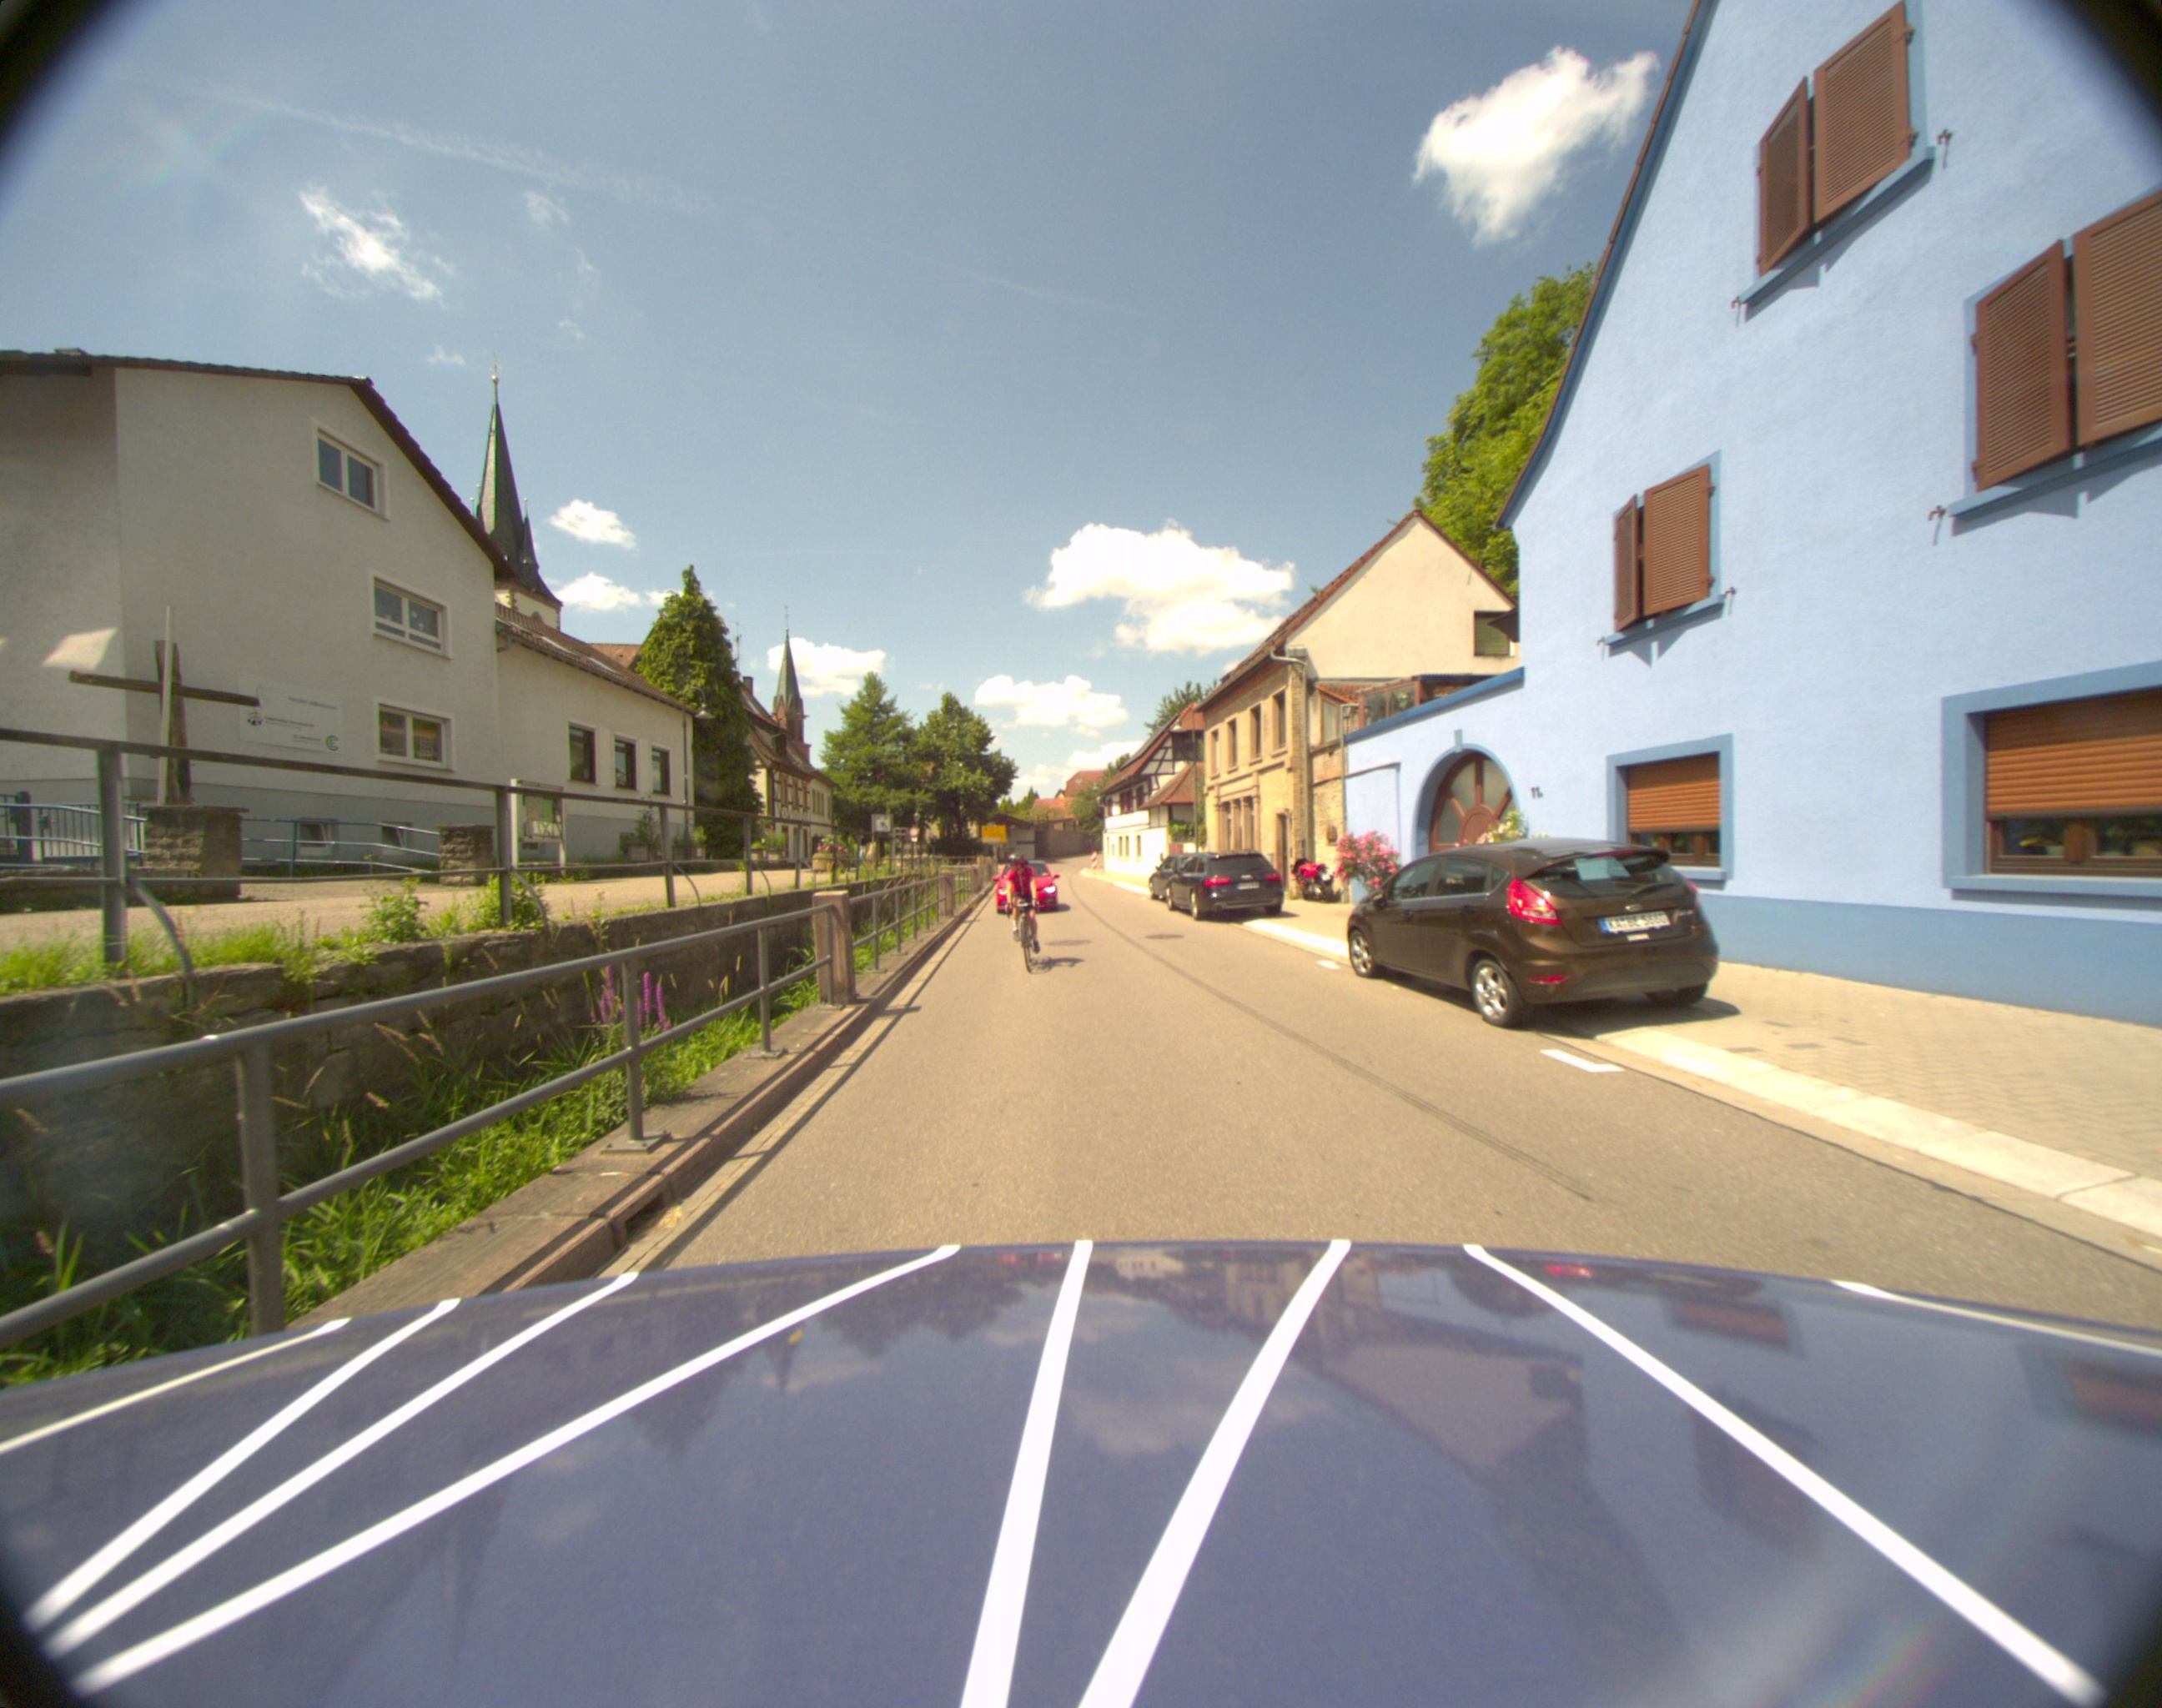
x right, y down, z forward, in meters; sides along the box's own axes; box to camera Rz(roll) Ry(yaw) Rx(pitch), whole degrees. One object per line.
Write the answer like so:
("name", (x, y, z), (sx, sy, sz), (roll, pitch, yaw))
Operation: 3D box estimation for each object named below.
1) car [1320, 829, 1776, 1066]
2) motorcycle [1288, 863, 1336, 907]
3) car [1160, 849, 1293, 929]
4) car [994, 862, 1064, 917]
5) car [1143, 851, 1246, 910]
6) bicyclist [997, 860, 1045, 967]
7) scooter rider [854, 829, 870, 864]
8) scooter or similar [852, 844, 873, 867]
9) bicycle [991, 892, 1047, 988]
("car", (3.928, 0.679, 7.299), (1.722, 1.521, 3.855), (-5, 0, -4))
("motorcycle", (5.844, 0.762, 19.308), (0.419, 0.995, 1.857), (-6, 2, -6))
("car", (3.163, 0.713, 17.561), (1.890, 1.455, 4.667), (-4, 0, -3))
("car", (-1.542, 0.944, 21.465), (1.670, 1.344, 3.492), (-2, 0, -8))
("car", (3.222, 0.696, 22.528), (1.962, 1.457, 4.542), (-2, 1, -5))
("bicyclist", (-0.815, 0.794, 10.491), (0.532, 1.396, 0.755), (-3, 1, 0))
("scooter rider", (-11.019, -0.389, 38.253), (0.643, 1.722, 0.554), (-2, 1, -4))
("scooter or similar", (-11.017, 0.042, 38.312), (0.643, 1.135, 1.810), (0, 1, -3))
("bicycle", (-0.819, 1.128, 10.524), (0.531, 1.070, 2.054), (-3, 0, 0))
